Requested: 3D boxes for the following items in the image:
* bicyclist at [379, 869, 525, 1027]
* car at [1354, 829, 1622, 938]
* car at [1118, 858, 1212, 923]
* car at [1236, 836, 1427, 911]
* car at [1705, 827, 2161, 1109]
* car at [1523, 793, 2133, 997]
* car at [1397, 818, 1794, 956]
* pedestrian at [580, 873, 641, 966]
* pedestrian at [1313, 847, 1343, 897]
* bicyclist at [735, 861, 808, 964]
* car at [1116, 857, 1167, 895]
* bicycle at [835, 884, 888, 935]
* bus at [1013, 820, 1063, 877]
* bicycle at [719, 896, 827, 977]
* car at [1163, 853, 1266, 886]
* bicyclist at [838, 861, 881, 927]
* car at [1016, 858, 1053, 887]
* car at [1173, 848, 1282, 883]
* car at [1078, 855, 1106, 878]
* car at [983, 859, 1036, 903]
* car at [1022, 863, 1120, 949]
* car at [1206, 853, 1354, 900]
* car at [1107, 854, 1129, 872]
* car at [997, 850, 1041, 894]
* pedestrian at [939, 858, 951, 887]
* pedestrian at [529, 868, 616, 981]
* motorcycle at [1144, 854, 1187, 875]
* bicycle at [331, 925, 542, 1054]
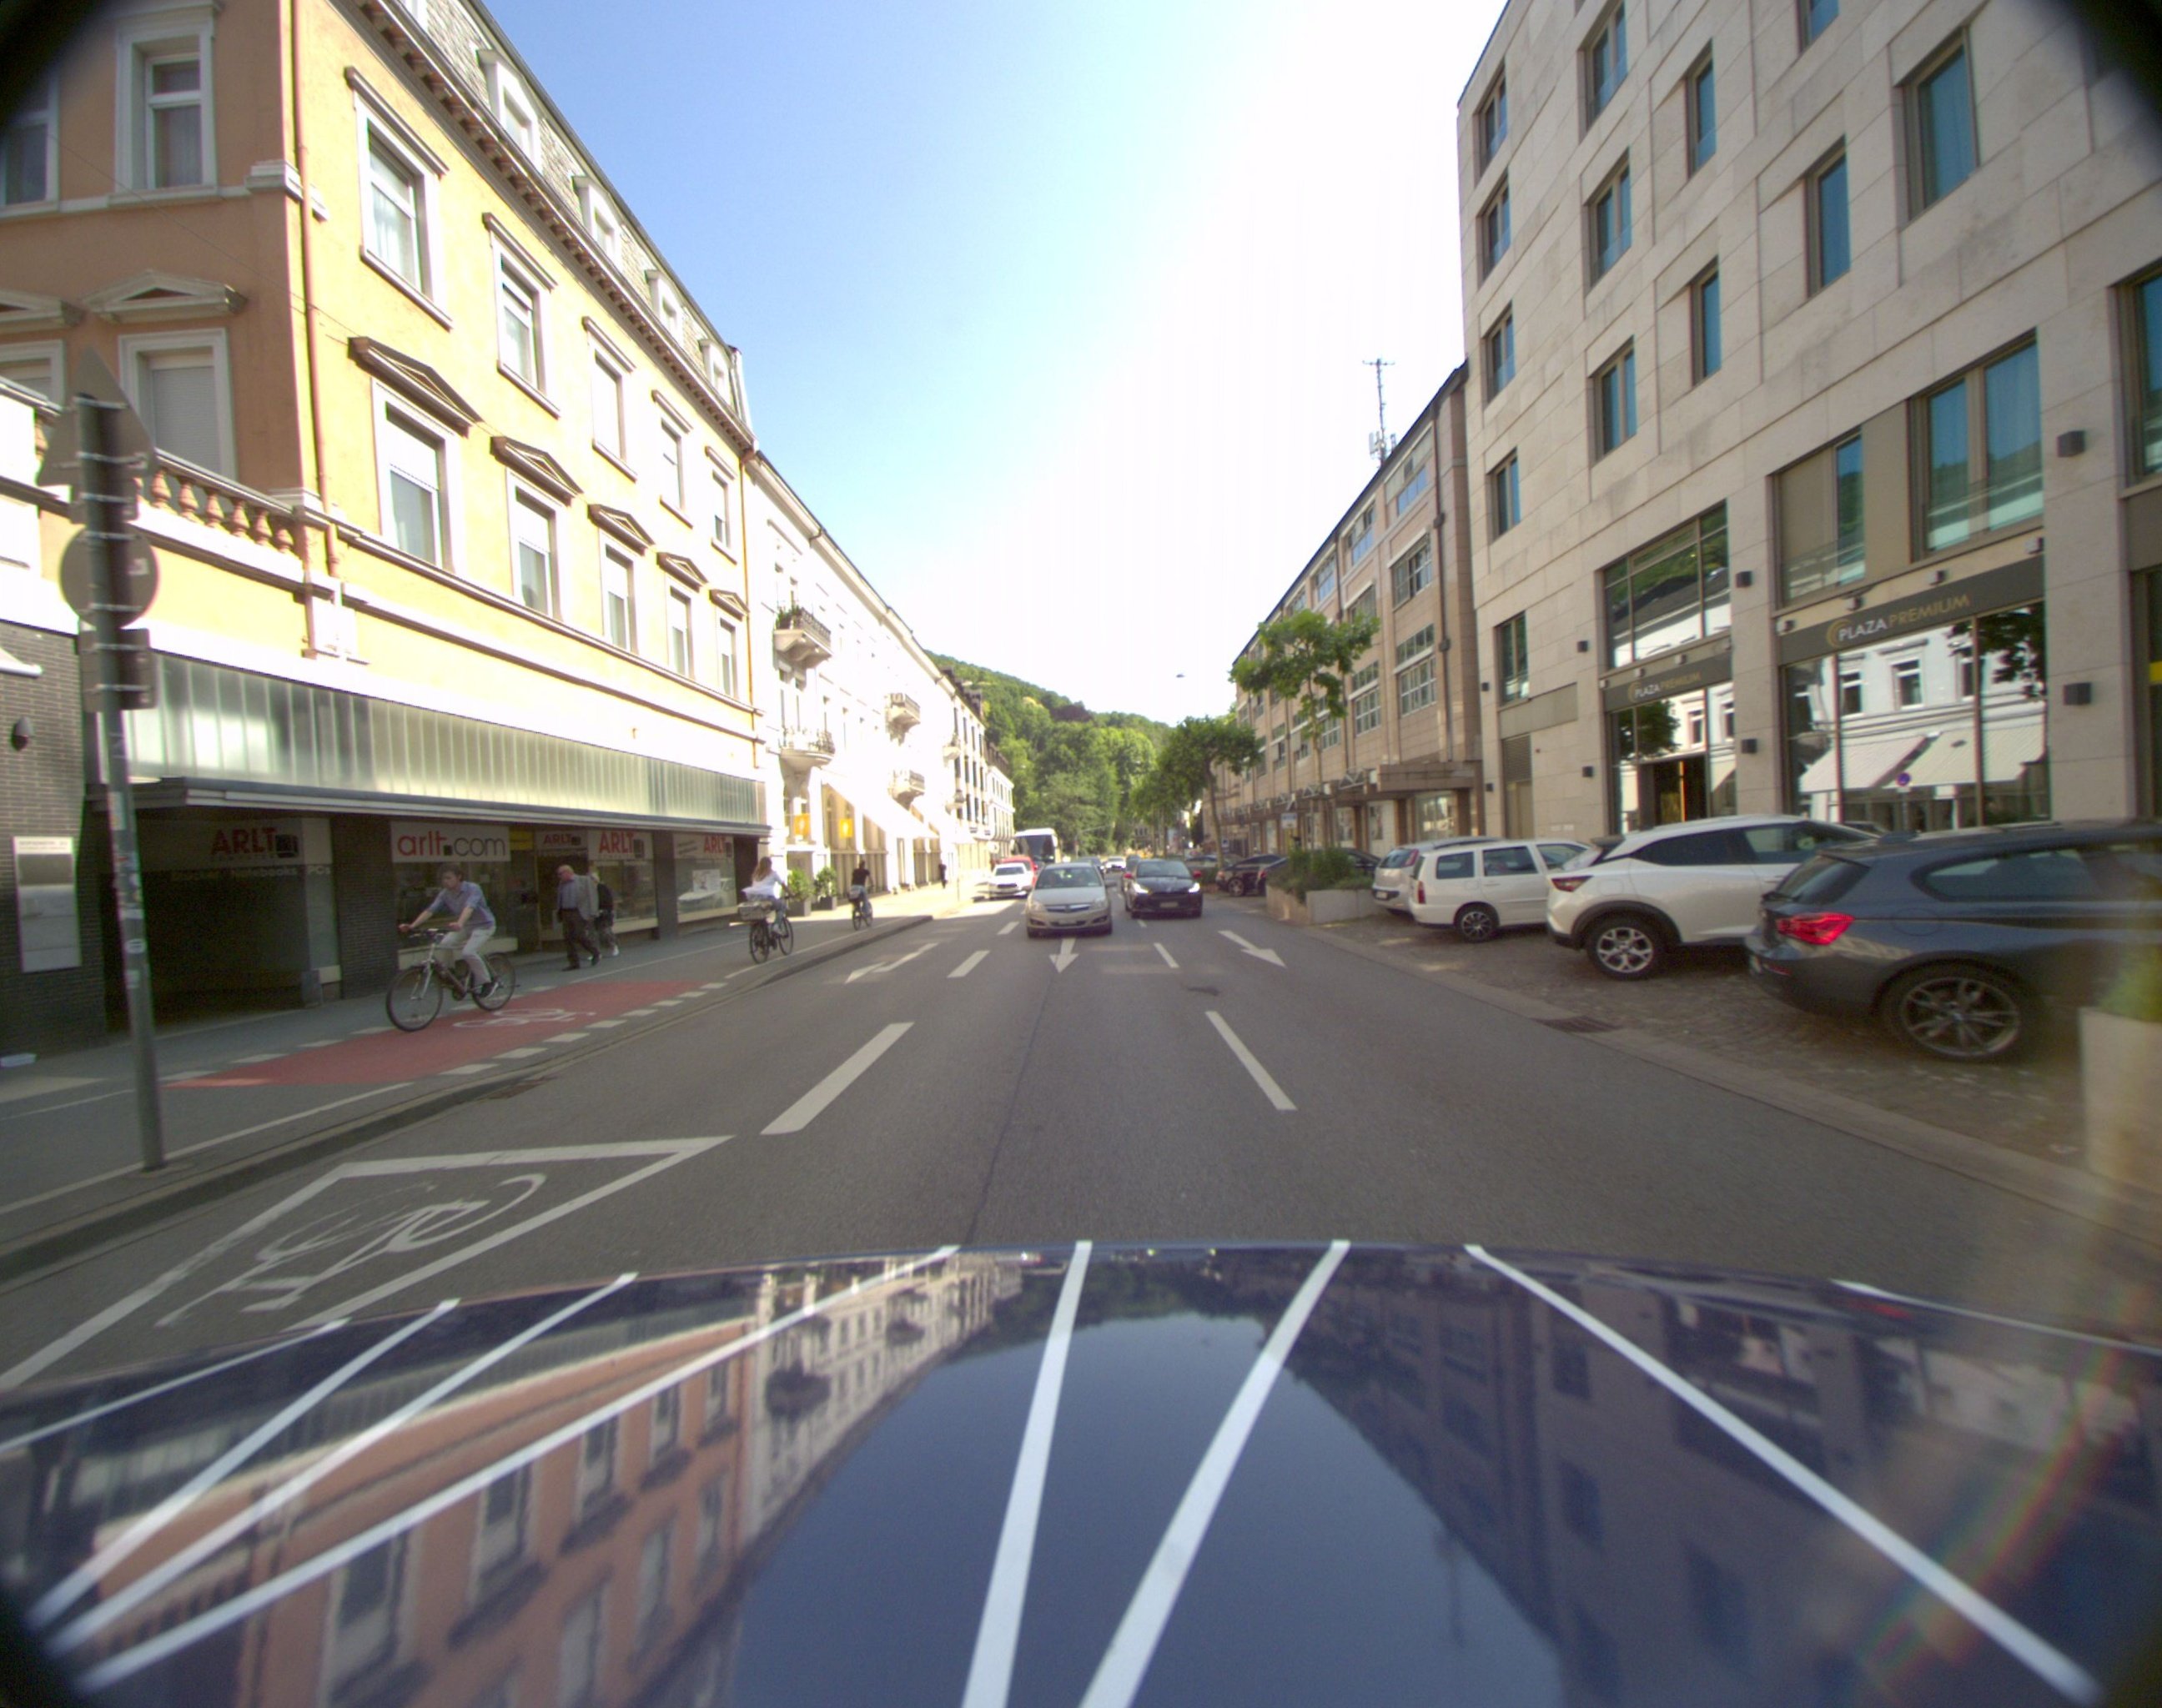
[{"bbox_3d":[-7.287,1.053,8.854,0.910,1.707,0.844,-2,1,-1],"label":"bicyclist"},{"bbox_3d":[7.544,0.492,14.375,3.997,1.519,1.820,-6,2,0],"label":"car"},{"bbox_3d":[2.083,0.899,19.961,1.868,1.469,4.106,-2,-1,-1],"label":"car"},{"bbox_3d":[6.799,0.555,20.767,4.521,1.496,1.795,-7,1,31],"label":"car"},{"bbox_3d":[6.772,0.603,4.679,4.308,1.441,1.790,-6,0,35],"label":"car"},{"bbox_3d":[7.059,0.478,7.878,4.029,1.584,1.822,-8,0,34],"label":"car"},{"bbox_3d":[7.271,0.487,11.381,4.493,1.424,1.865,-8,0,21],"label":"car"},{"bbox_3d":[-8.916,1.222,14.422,0.522,1.656,0.844,-2,1,2],"label":"pedestrian"},{"bbox_3d":[9.456,0.667,29.054,0.840,1.868,0.844,-2,1,2],"label":"pedestrian"},{"bbox_3d":[-5.389,0.995,13.292,0.747,1.693,1.036,-2,1,2],"label":"bicyclist"},{"bbox_3d":[2.520,0.884,32.442,1.734,1.389,4.106,-3,1,0],"label":"car"},{"bbox_3d":[-5.499,1.369,19.151,0.596,1.120,2.094,-1,1,3],"label":"bicycle"},{"bbox_3d":[-2.846,-0.384,54.461,2.924,3.516,12.498,-2,1,-1],"label":"bus"},{"bbox_3d":[-5.372,1.393,13.482,0.743,1.120,2.573,-1,1,3],"label":"bicycle"},{"bbox_3d":[6.254,0.742,35.921,4.392,1.438,1.890,-2,-1,40],"label":"car"},{"bbox_3d":[-5.510,0.973,18.953,0.747,1.564,0.844,-2,1,2],"label":"bicyclist"},{"bbox_3d":[-2.612,1.035,43.583,1.868,1.479,4.414,-3,0,-1],"label":"car"},{"bbox_3d":[7.376,0.608,38.646,5.120,1.623,1.847,-2,0,40],"label":"car"},{"bbox_3d":[0.741,0.831,51.346,1.775,1.469,4.107,-1,-1,1],"label":"car"},{"bbox_3d":[-3.015,1.099,32.861,1.799,1.516,4.262,-6,1,-1],"label":"car"},{"bbox_3d":[-0.234,1.017,16.586,1.791,1.484,4.367,-3,0,-1],"label":"car"},{"bbox_3d":[6.724,0.754,26.033,4.609,1.438,1.736,-2,0,45],"label":"car"},{"bbox_3d":[3.172,0.743,66.442,1.733,1.389,4.106,-3,0,1],"label":"car"},{"bbox_3d":[-3.096,0.890,38.574,1.703,1.900,4.607,-7,-1,-1],"label":"car"},{"bbox_3d":[-8.045,1.076,44.999,0.482,1.659,0.868,-2,1,1],"label":"pedestrian"},{"bbox_3d":[-8.464,1.153,12.686,0.840,1.781,0.767,-2,1,2],"label":"pedestrian"},{"bbox_3d":[5.893,0.749,53.177,0.980,1.342,3.095,-3,0,-42],"label":"motorcycle"},{"bbox_3d":[-7.275,1.479,8.735,0.748,1.111,1.918,-2,0,0],"label":"bicycle"}]
